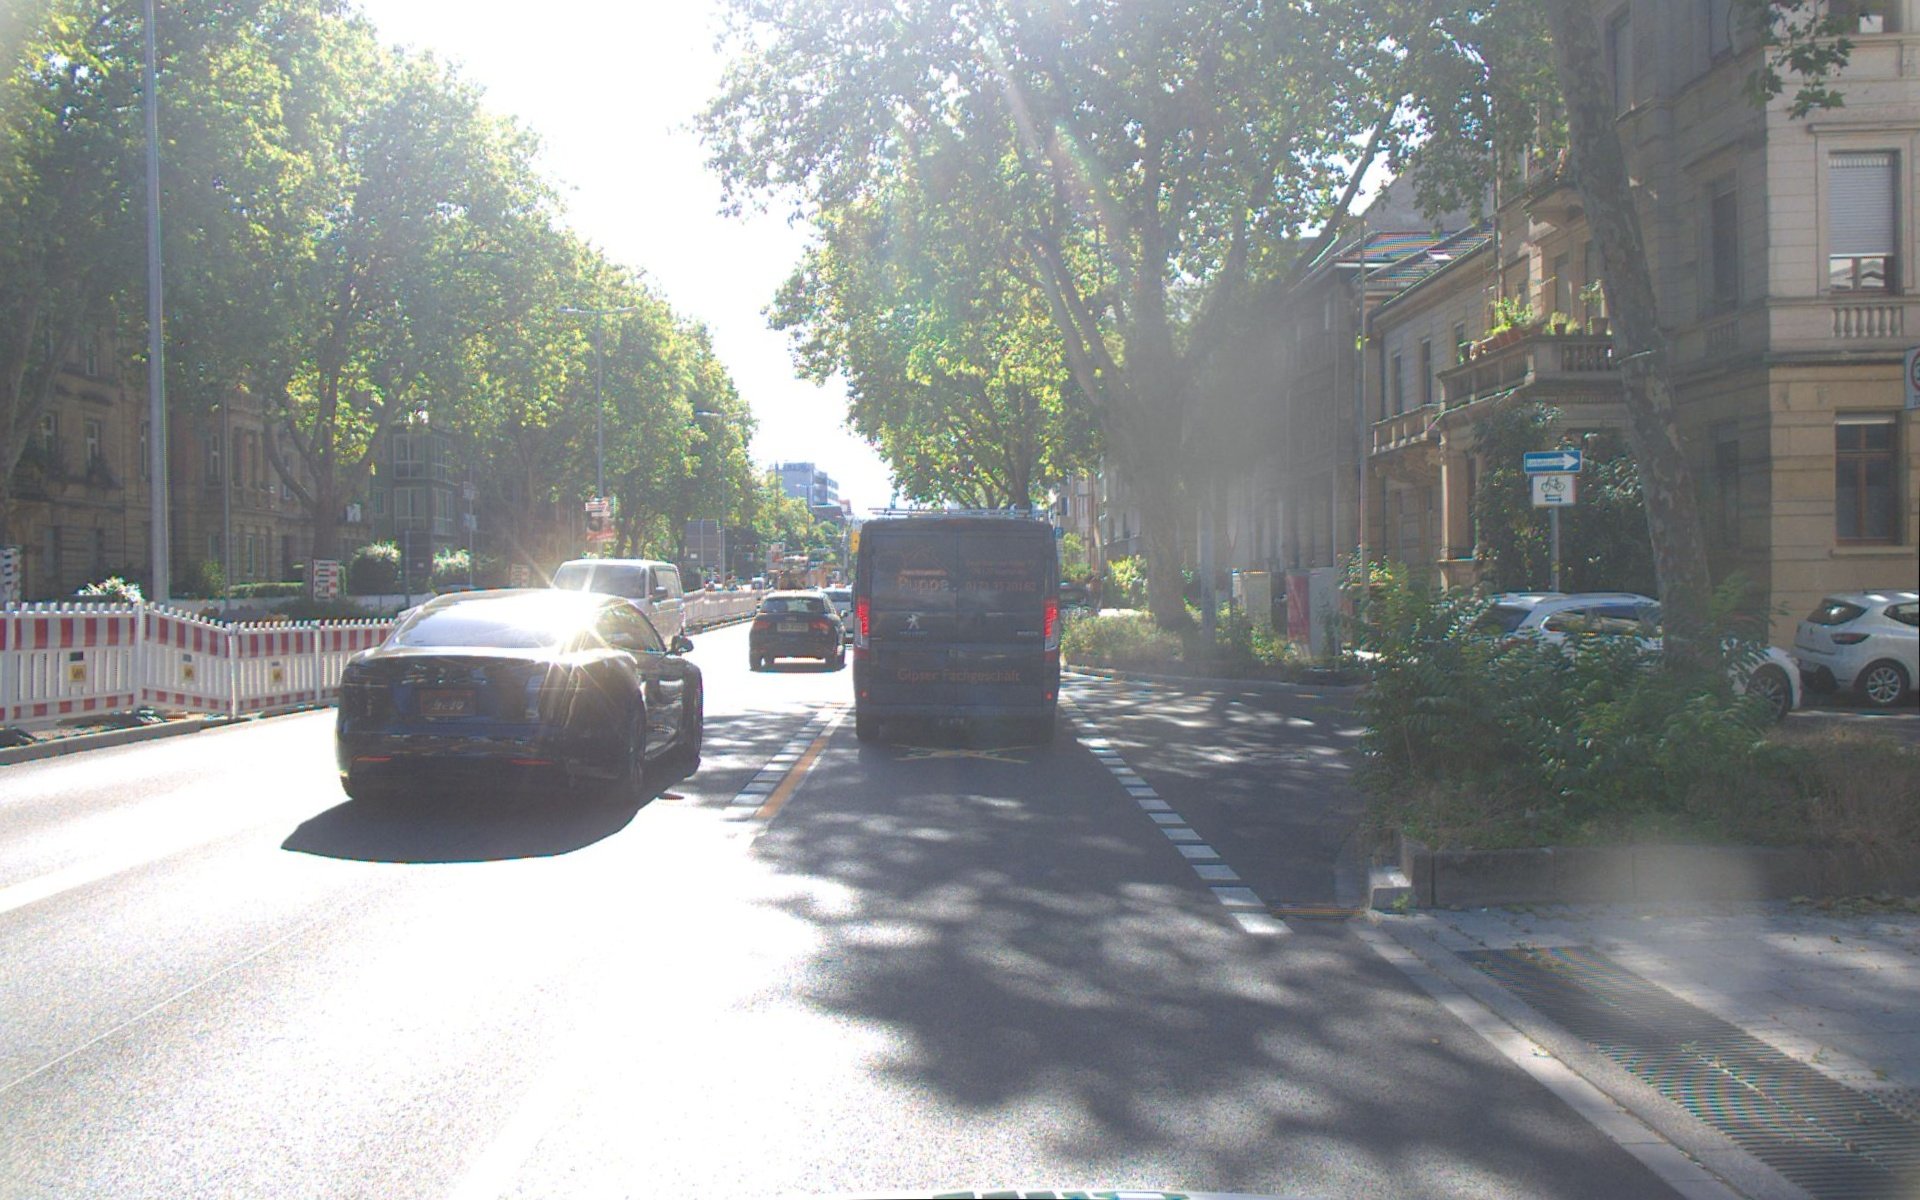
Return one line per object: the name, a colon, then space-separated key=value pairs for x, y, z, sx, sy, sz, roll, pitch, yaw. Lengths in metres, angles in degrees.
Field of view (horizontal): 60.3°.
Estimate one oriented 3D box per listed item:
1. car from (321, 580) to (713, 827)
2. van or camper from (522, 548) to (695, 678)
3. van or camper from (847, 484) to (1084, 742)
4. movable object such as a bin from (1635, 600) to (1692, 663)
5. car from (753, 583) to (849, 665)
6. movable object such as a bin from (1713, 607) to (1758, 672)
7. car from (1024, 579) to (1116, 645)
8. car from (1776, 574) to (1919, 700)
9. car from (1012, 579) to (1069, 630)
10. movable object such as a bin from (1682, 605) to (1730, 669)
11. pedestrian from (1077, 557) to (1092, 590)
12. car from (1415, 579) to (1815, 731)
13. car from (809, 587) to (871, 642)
car: x=-3.060 y=0.614 z=12.419 sx=1.800 sy=1.509 sz=4.475 roll=0 pitch=0 yaw=-1
van or camper: x=-6.097 y=0.194 z=29.379 sx=1.953 sy=2.049 sz=5.328 roll=1 pitch=0 yaw=-1
van or camper: x=-0.035 y=0.100 z=17.621 sx=2.200 sy=2.387 sz=4.535 roll=0 pitch=0 yaw=-2
movable object such as a bin: x=11.406 y=0.507 z=26.824 sx=0.673 sy=0.987 sz=0.548 roll=-1 pitch=0 yaw=1
car: x=-3.058 y=0.424 z=32.334 sx=1.587 sy=1.512 sz=3.733 roll=0 pitch=0 yaw=-1
movable object such as a bin: x=12.010 y=0.614 z=25.620 sx=0.508 sy=0.987 sz=0.398 roll=-1 pitch=0 yaw=1
car: x=2.755 y=0.292 z=42.382 sx=1.738 sy=1.596 sz=3.995 roll=0 pitch=0 yaw=-5
car: x=13.462 y=0.467 z=22.454 sx=3.848 sy=1.588 sz=1.873 roll=0 pitch=2 yaw=0
car: x=2.644 y=0.125 z=54.920 sx=1.736 sy=1.596 sz=4.000 roll=-1 pitch=0 yaw=1
movable object such as a bin: x=11.840 y=0.576 z=26.245 sx=0.508 sy=0.987 sz=0.548 roll=-1 pitch=0 yaw=1
pedestrian: x=8.810 y=-1.874 z=117.155 sx=1.036 sy=2.387 sz=0.816 roll=0 pitch=0 yaw=2
car: x=7.260 y=0.568 z=18.362 sx=3.989 sy=1.512 sz=1.827 roll=-1 pitch=-1 yaw=-23
car: x=-3.400 y=0.373 z=47.420 sx=1.587 sy=1.512 sz=3.733 roll=0 pitch=0 yaw=-1
